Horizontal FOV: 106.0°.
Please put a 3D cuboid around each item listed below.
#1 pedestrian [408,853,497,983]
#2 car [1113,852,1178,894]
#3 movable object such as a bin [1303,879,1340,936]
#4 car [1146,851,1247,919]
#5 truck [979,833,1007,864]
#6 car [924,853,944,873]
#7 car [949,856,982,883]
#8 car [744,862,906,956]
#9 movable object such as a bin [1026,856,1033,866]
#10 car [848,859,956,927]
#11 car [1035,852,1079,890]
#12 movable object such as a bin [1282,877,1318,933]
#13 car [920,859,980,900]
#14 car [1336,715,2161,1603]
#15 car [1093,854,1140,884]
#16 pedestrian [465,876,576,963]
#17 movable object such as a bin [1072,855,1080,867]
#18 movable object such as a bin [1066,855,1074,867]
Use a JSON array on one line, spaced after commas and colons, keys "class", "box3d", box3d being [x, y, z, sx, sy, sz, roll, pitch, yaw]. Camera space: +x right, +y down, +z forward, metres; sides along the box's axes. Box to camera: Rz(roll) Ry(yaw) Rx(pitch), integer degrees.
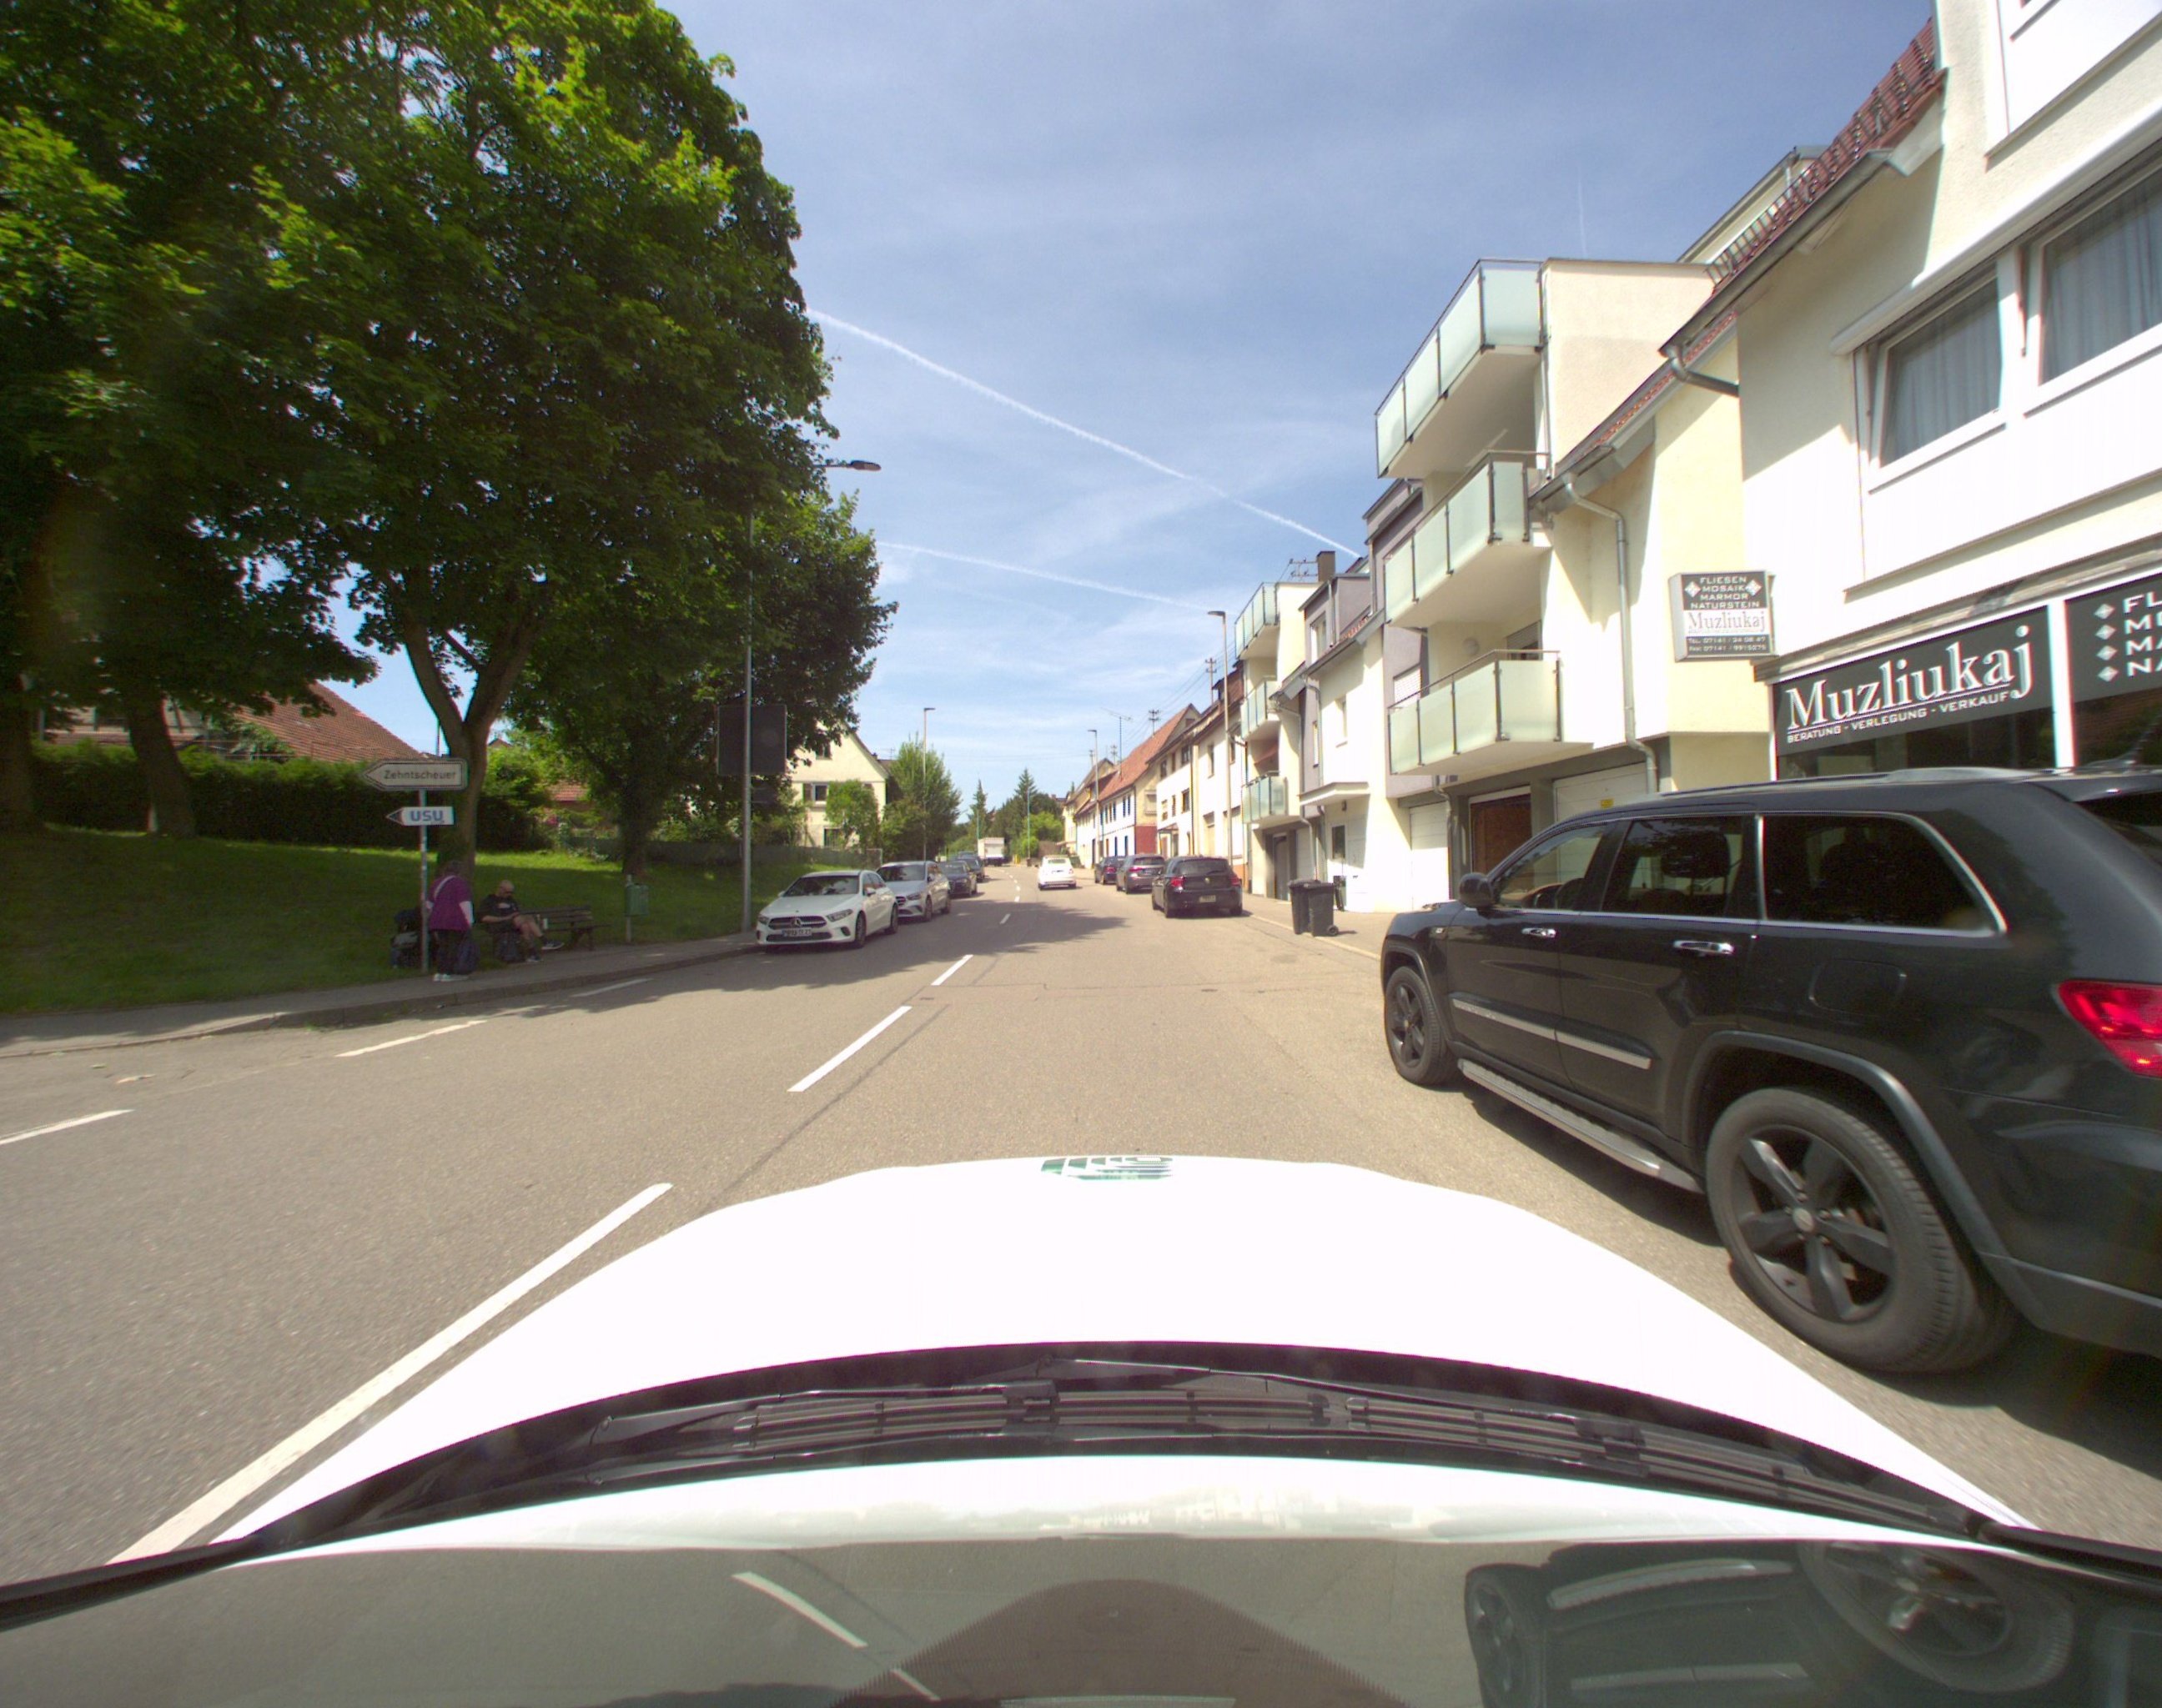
[{"class": "pedestrian", "box3d": [-8.153, 0.806, 10.601, 0.732, 1.616, 0.625, 0, -1, -20]}, {"class": "car", "box3d": [2.378, 0.662, 31.080, 1.790, 1.403, 4.405, -3, 0, -4]}, {"class": "movable object such as a bin", "box3d": [4.089, 0.899, 13.880, 0.430, 0.925, 0.491, -3, 0, -2]}, {"class": "car", "box3d": [2.717, 0.698, 20.099, 1.791, 1.424, 4.288, -2, 0, -1]}, {"class": "truck", "box3d": [-11.523, -0.620, 106.072, 3.068, 3.774, 7.842, -2, -1, -9]}, {"class": "car", "box3d": [-15.202, 0.891, 84.097, 1.892, 1.937, 4.966, -2, 0, -12]}, {"class": "car", "box3d": [-6.705, 0.866, 47.717, 1.787, 1.463, 4.700, -2, 0, -7]}, {"class": "car", "box3d": [-4.836, 0.965, 16.069, 1.749, 1.467, 4.362, -3, 0, 0]}, {"class": "movable object such as a bin", "box3d": [-5.602, 0.797, 88.731, 0.491, 1.033, 0.550, -5, 0, 12]}, {"class": "car", "box3d": [-4.652, 0.945, 21.799, 1.766, 1.527, 4.223, -3, 0, 1]}, {"class": "car", "box3d": [-1.140, 0.744, 36.989, 1.722, 1.560, 3.994, -3, 0, -4]}, {"class": "movable object such as a bin", "box3d": [3.919, 0.903, 14.595, 0.430, 0.956, 0.517, -4, 0, -2]}, {"class": "car", "box3d": [-5.279, 0.968, 33.438, 1.800, 1.423, 4.923, -2, 0, -3]}, {"class": "car", "box3d": [2.995, 0.570, 3.895, 1.948, 1.716, 4.714, -1, 0, -1]}, {"class": "car", "box3d": [1.680, 0.696, 39.783, 1.664, 1.352, 4.177, -1, 0, -7]}, {"class": "pedestrian", "box3d": [-8.547, 0.978, 12.441, 1.231, 1.269, 0.647, 0, -1, 4]}, {"class": "movable object such as a bin", "box3d": [-0.428, 0.618, 71.447, 0.546, 1.033, 0.550, -4, 1, -9]}, {"class": "movable object such as a bin", "box3d": [-0.987, 0.608, 73.333, 0.546, 1.033, 0.550, -4, 1, -9]}]
